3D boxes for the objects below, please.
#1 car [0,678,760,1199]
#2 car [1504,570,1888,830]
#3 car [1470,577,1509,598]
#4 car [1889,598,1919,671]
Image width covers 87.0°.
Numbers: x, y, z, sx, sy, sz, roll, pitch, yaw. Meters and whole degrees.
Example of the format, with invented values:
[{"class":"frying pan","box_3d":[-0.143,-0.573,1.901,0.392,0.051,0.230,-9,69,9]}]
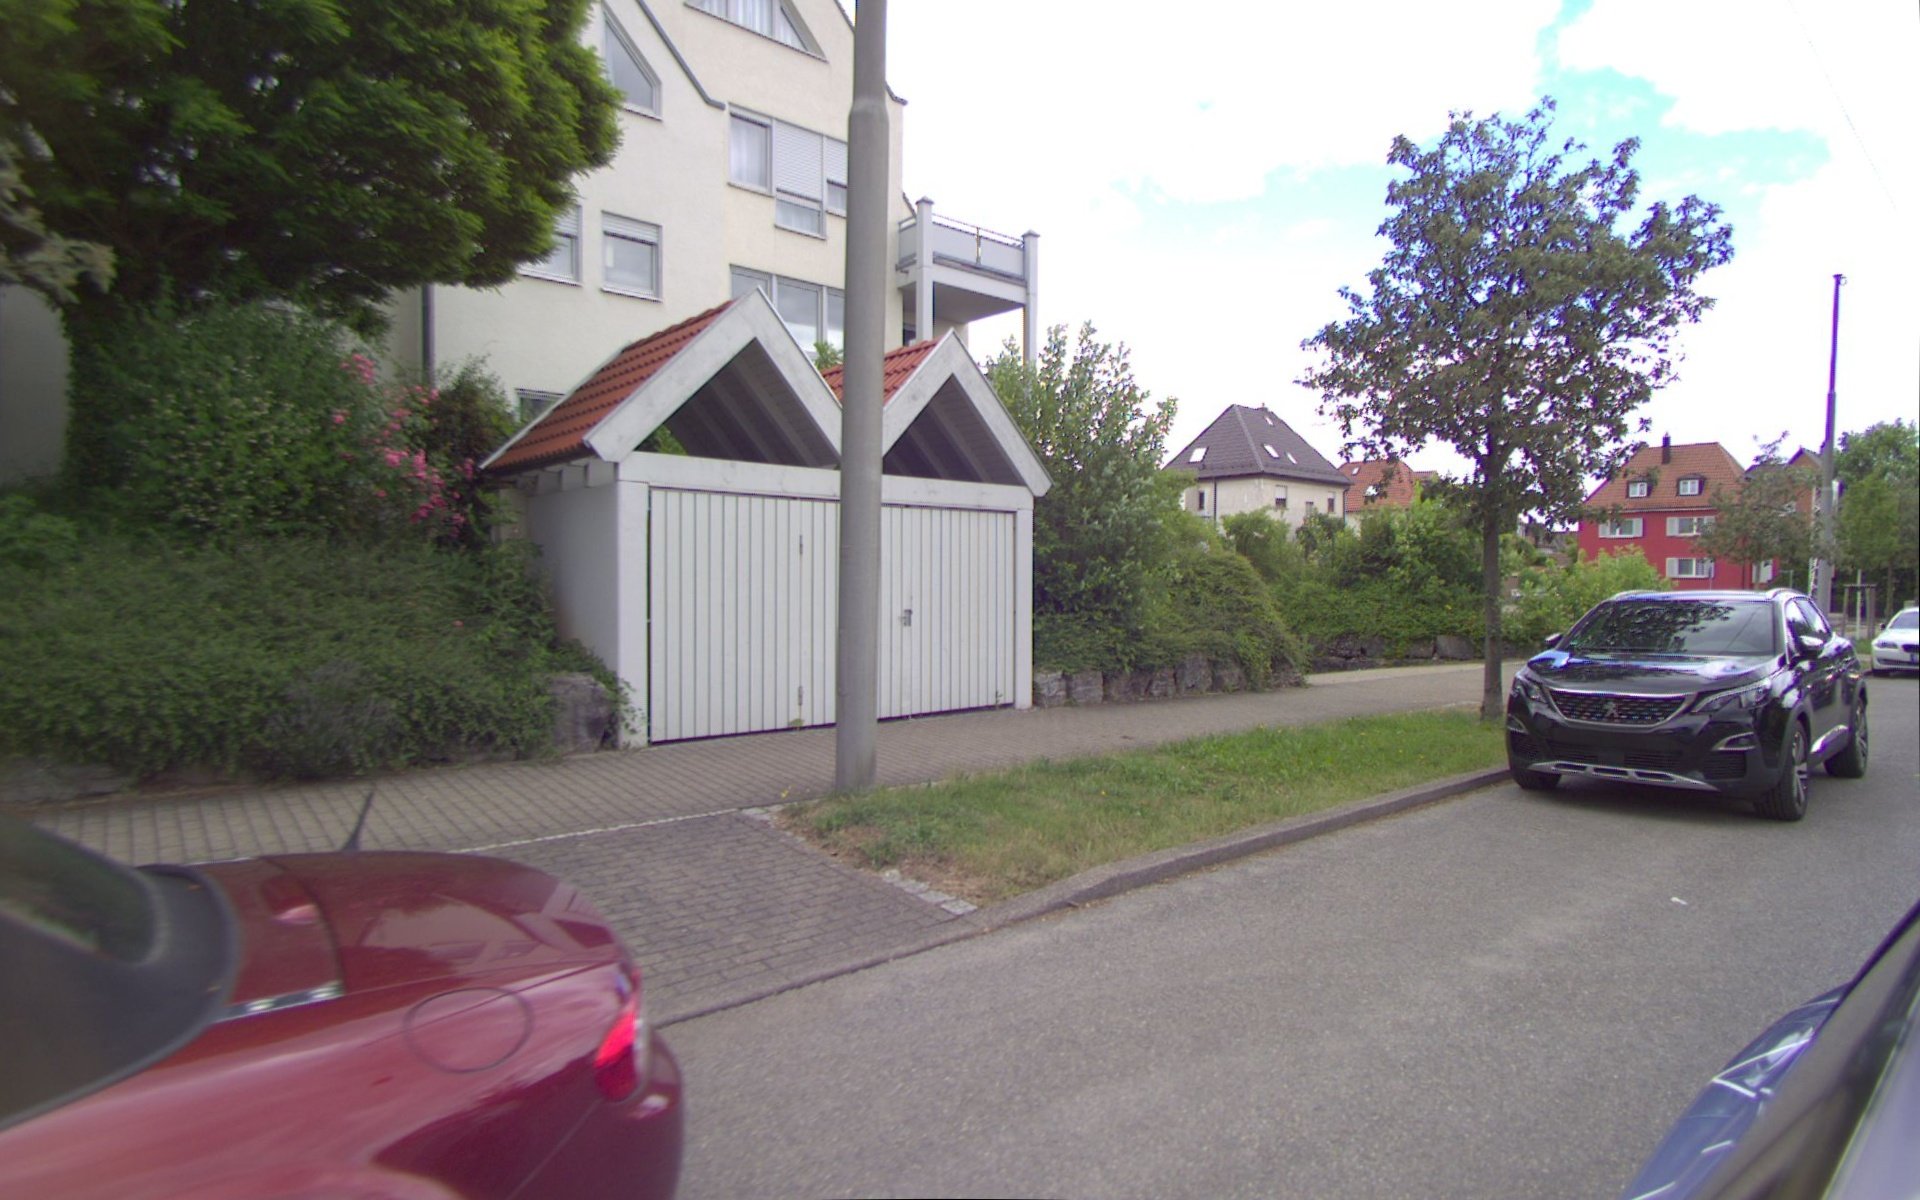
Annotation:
[{"class":"car","box_3d":[-2.226,0.827,0.895,3.817,1.252,1.483,0,-1,-42]},{"class":"car","box_3d":[6.195,0.622,8.343,4.037,1.629,1.690,0,-1,-41]},{"class":"car","box_3d":[40.739,-0.926,77.814,3.442,1.560,1.619,0,0,-43]},{"class":"car","box_3d":[21.033,0.688,21.296,4.327,1.472,1.696,0,-1,-41]}]
